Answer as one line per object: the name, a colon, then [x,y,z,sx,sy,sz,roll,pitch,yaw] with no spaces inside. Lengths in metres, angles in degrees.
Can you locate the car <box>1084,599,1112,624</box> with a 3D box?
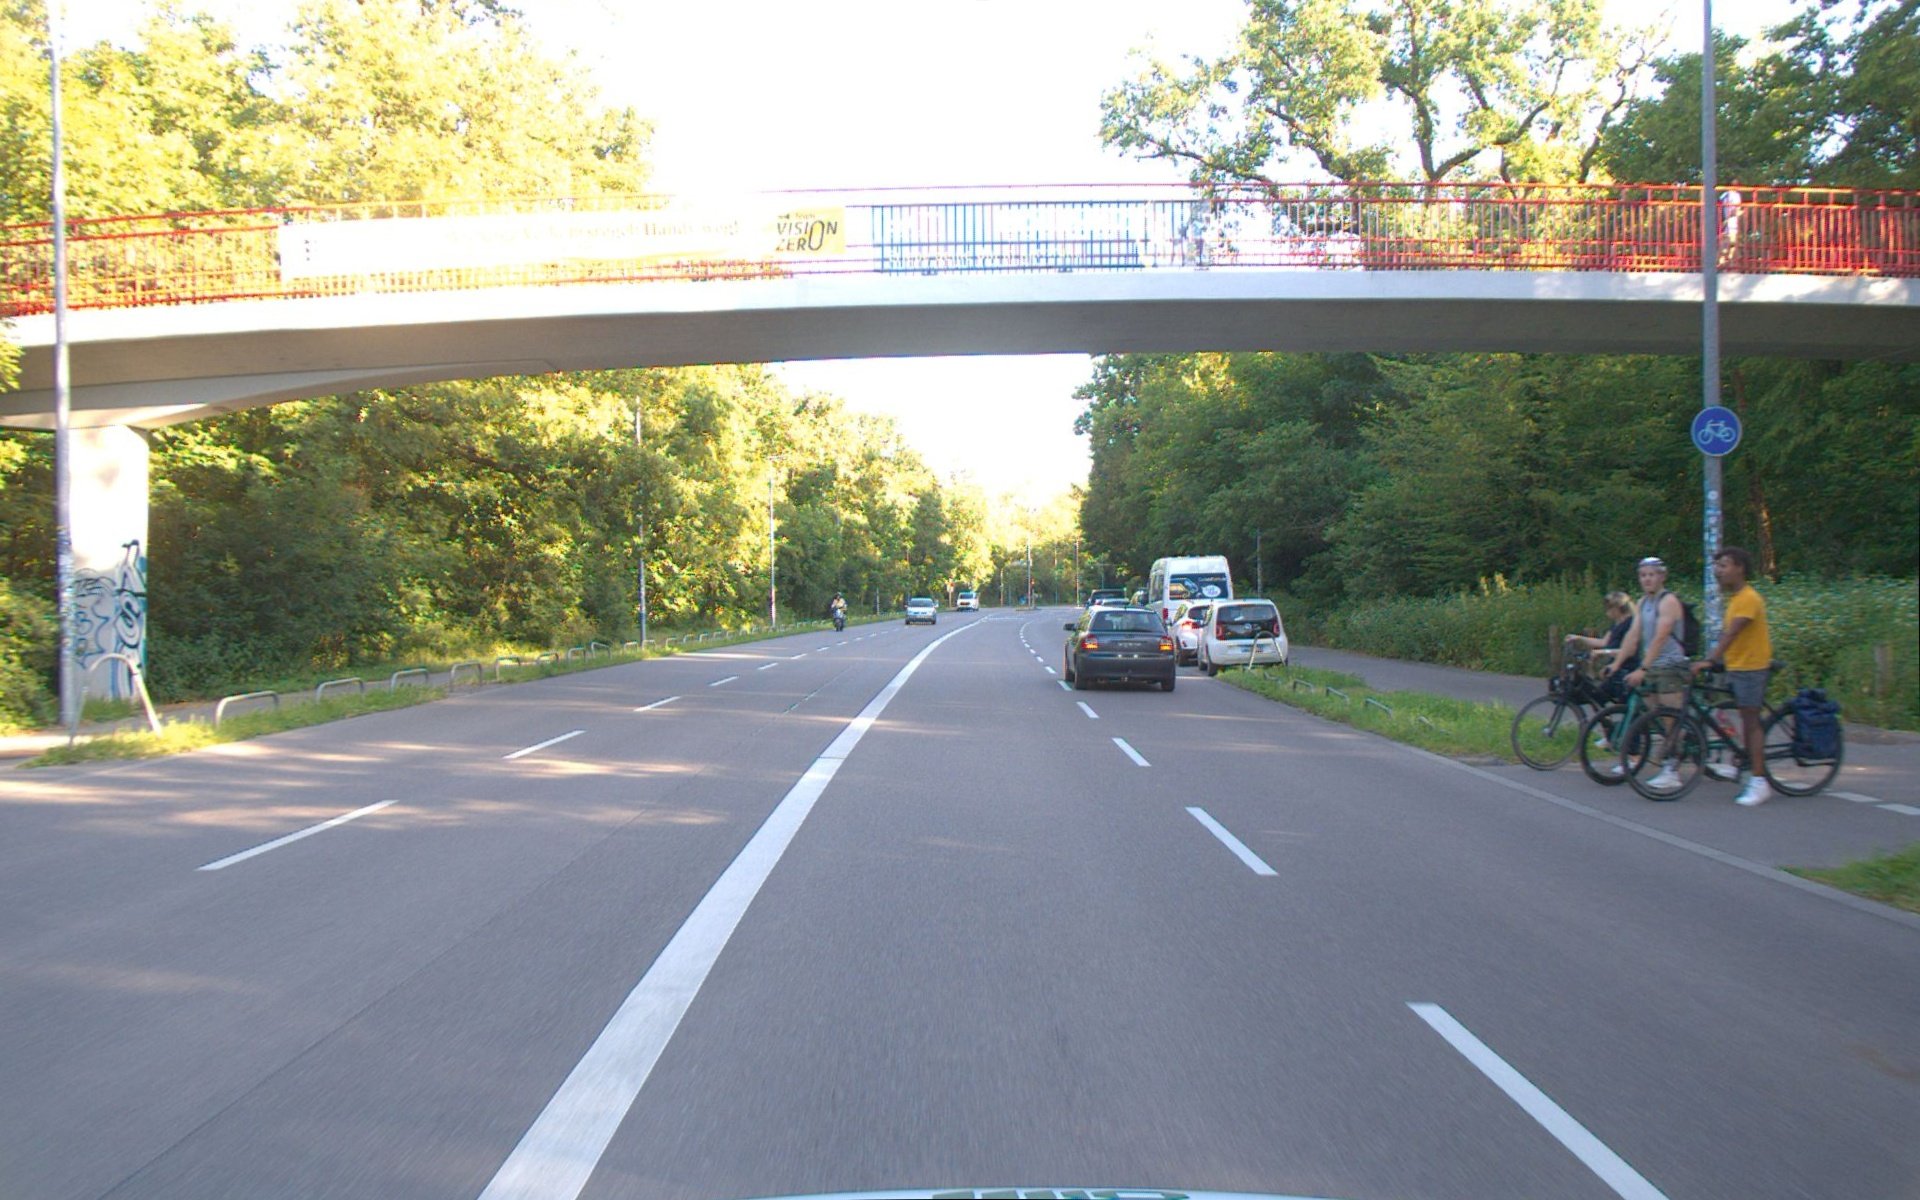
car: [8.676,0.711,104.109,1.691,1.466,4.669,-2,0,4]

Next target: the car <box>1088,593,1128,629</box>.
car: [6.777,0.481,75.951,1.691,1.571,4.219,0,0,3]

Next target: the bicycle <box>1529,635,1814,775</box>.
bicycle: [5.922,0.856,13.830,2.021,1.087,0.870,-1,0,-5]

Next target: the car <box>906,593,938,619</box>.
car: [-2.108,0.331,92.955,1.647,1.431,3.890,0,0,1]

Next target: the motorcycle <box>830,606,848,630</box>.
motorcycle: [-5.348,0.785,73.286,0.623,1.013,2.077,0,0,1]

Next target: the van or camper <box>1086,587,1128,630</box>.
van or camper: [7.256,0.407,81.802,1.853,1.982,5.136,-3,0,3]

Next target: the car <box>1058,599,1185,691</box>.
car: [2.735,0.730,28.779,1.693,1.467,4.088,1,0,-2]

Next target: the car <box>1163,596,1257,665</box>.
car: [5.849,0.675,39.091,1.687,1.522,4.146,0,0,1]

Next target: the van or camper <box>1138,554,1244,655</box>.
van or camper: [6.252,0.104,45.386,2.075,2.561,5.980,-1,0,0]

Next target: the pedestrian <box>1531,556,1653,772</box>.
pedestrian: [5.707,0.558,14.970,0.685,1.885,0.938,0,0,-5]

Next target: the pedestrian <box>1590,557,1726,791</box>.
pedestrian: [5.831,0.594,13.861,0.685,1.885,0.938,0,0,-5]

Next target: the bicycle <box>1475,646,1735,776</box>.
bicycle: [5.810,0.981,14.968,2.021,1.087,0.870,-1,0,-5]

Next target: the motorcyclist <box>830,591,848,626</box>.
motorcyclist: [-5.339,0.364,73.147,0.709,1.531,0.672,0,-1,1]

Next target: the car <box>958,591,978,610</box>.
car: [0.855,0.072,177.515,1.952,2.027,4.999,0,0,2]

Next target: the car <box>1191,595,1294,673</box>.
car: [5.789,0.663,34.258,1.687,1.522,3.776,0,0,3]

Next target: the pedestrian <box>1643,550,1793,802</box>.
pedestrian: [5.885,0.569,12.881,0.685,1.885,0.938,0,0,-5]

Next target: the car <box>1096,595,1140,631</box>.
car: [6.725,0.519,70.588,1.691,1.467,4.102,0,0,3]

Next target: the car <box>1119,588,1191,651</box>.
car: [6.150,0.580,52.708,1.791,1.900,5.075,-1,0,1]

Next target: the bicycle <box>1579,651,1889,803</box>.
bicycle: [5.994,0.963,12.874,2.021,1.087,0.870,0,0,-5]
